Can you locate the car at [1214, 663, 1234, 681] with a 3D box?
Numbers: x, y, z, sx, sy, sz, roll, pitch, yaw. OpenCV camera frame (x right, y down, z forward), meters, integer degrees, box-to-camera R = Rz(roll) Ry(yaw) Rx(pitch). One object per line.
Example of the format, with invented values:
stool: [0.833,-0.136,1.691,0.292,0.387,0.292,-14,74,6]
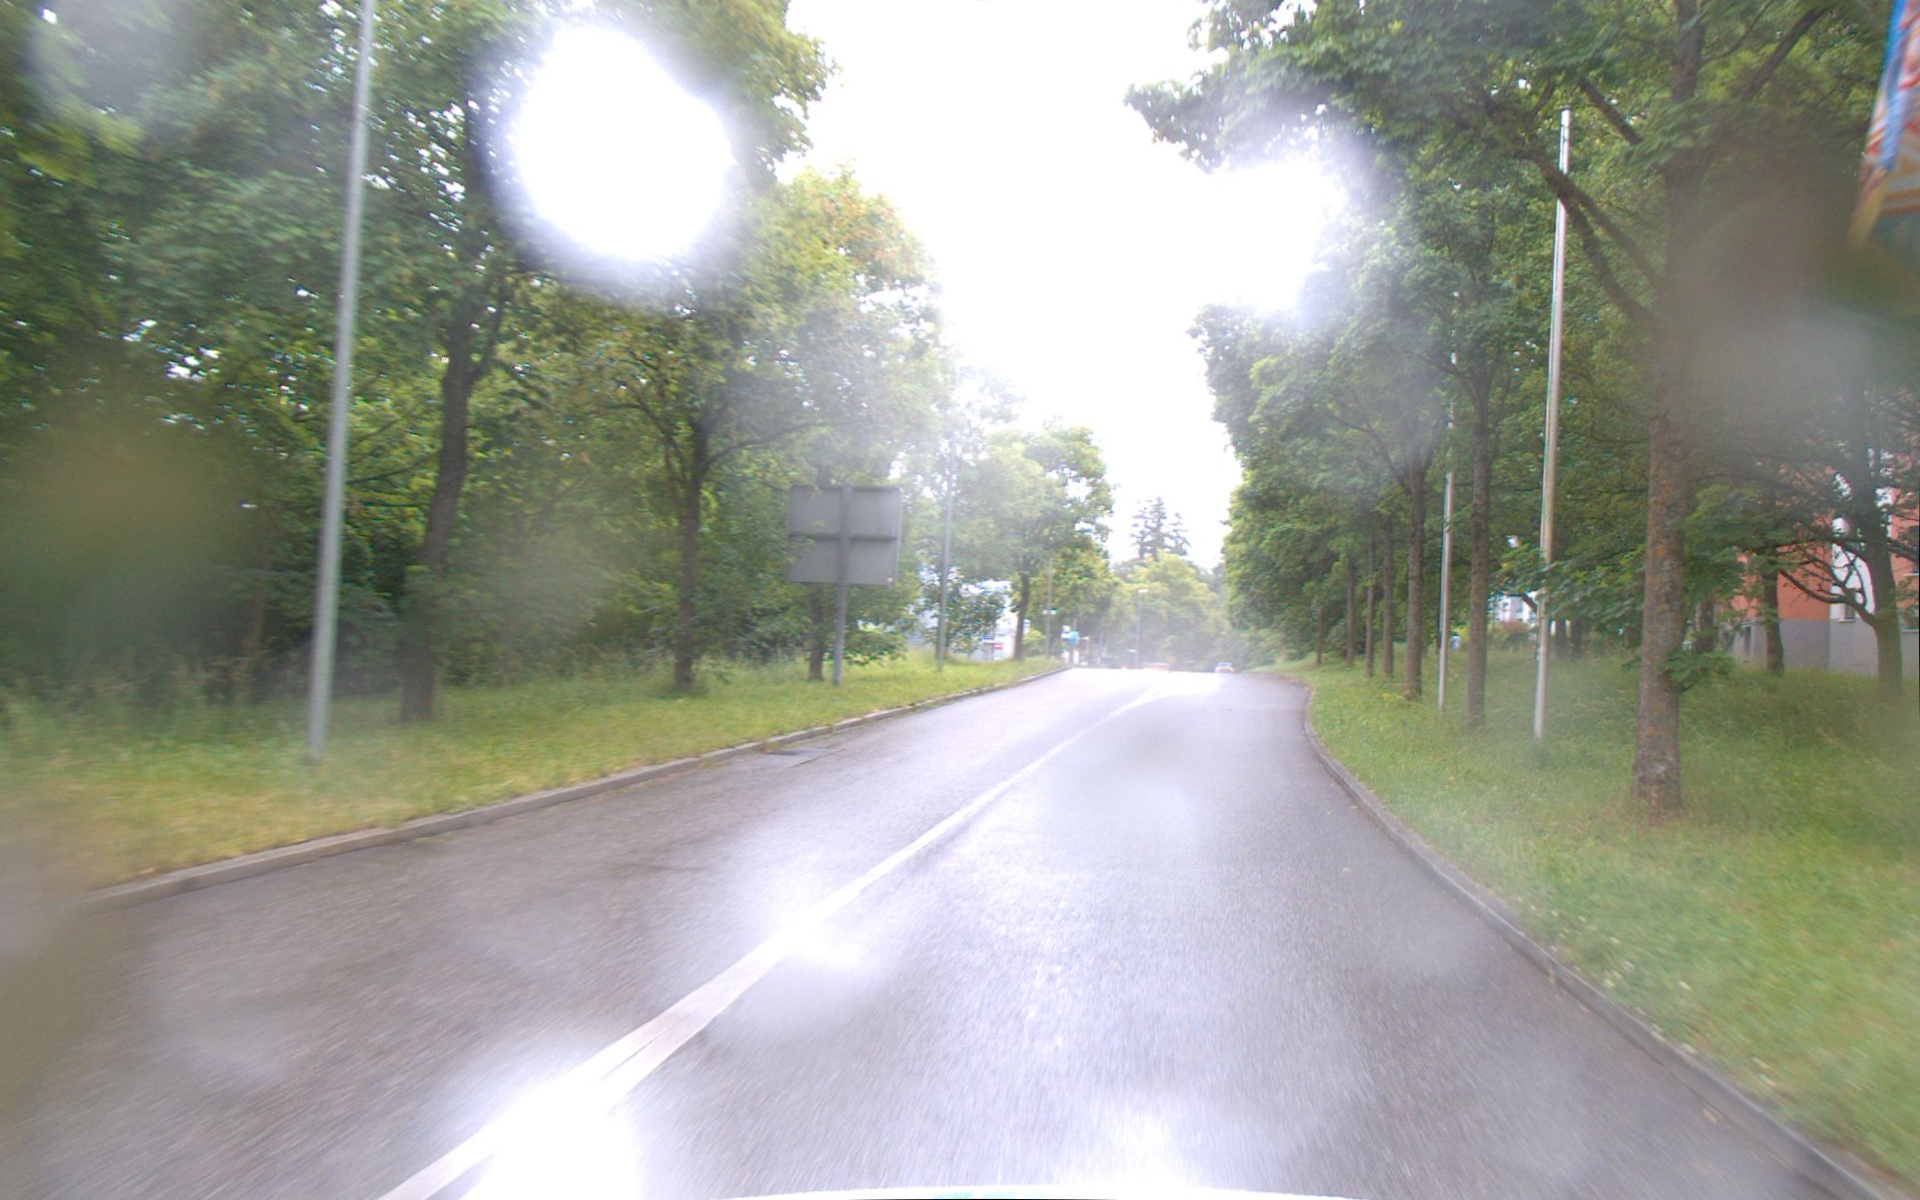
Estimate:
car: [23.649,6.455,147.877,1.699,1.537,4.002,0,-4,10]

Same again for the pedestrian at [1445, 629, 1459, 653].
pedestrian: [26.875,2.222,90.312,0.640,1.307,0.625,0,-2,11]
